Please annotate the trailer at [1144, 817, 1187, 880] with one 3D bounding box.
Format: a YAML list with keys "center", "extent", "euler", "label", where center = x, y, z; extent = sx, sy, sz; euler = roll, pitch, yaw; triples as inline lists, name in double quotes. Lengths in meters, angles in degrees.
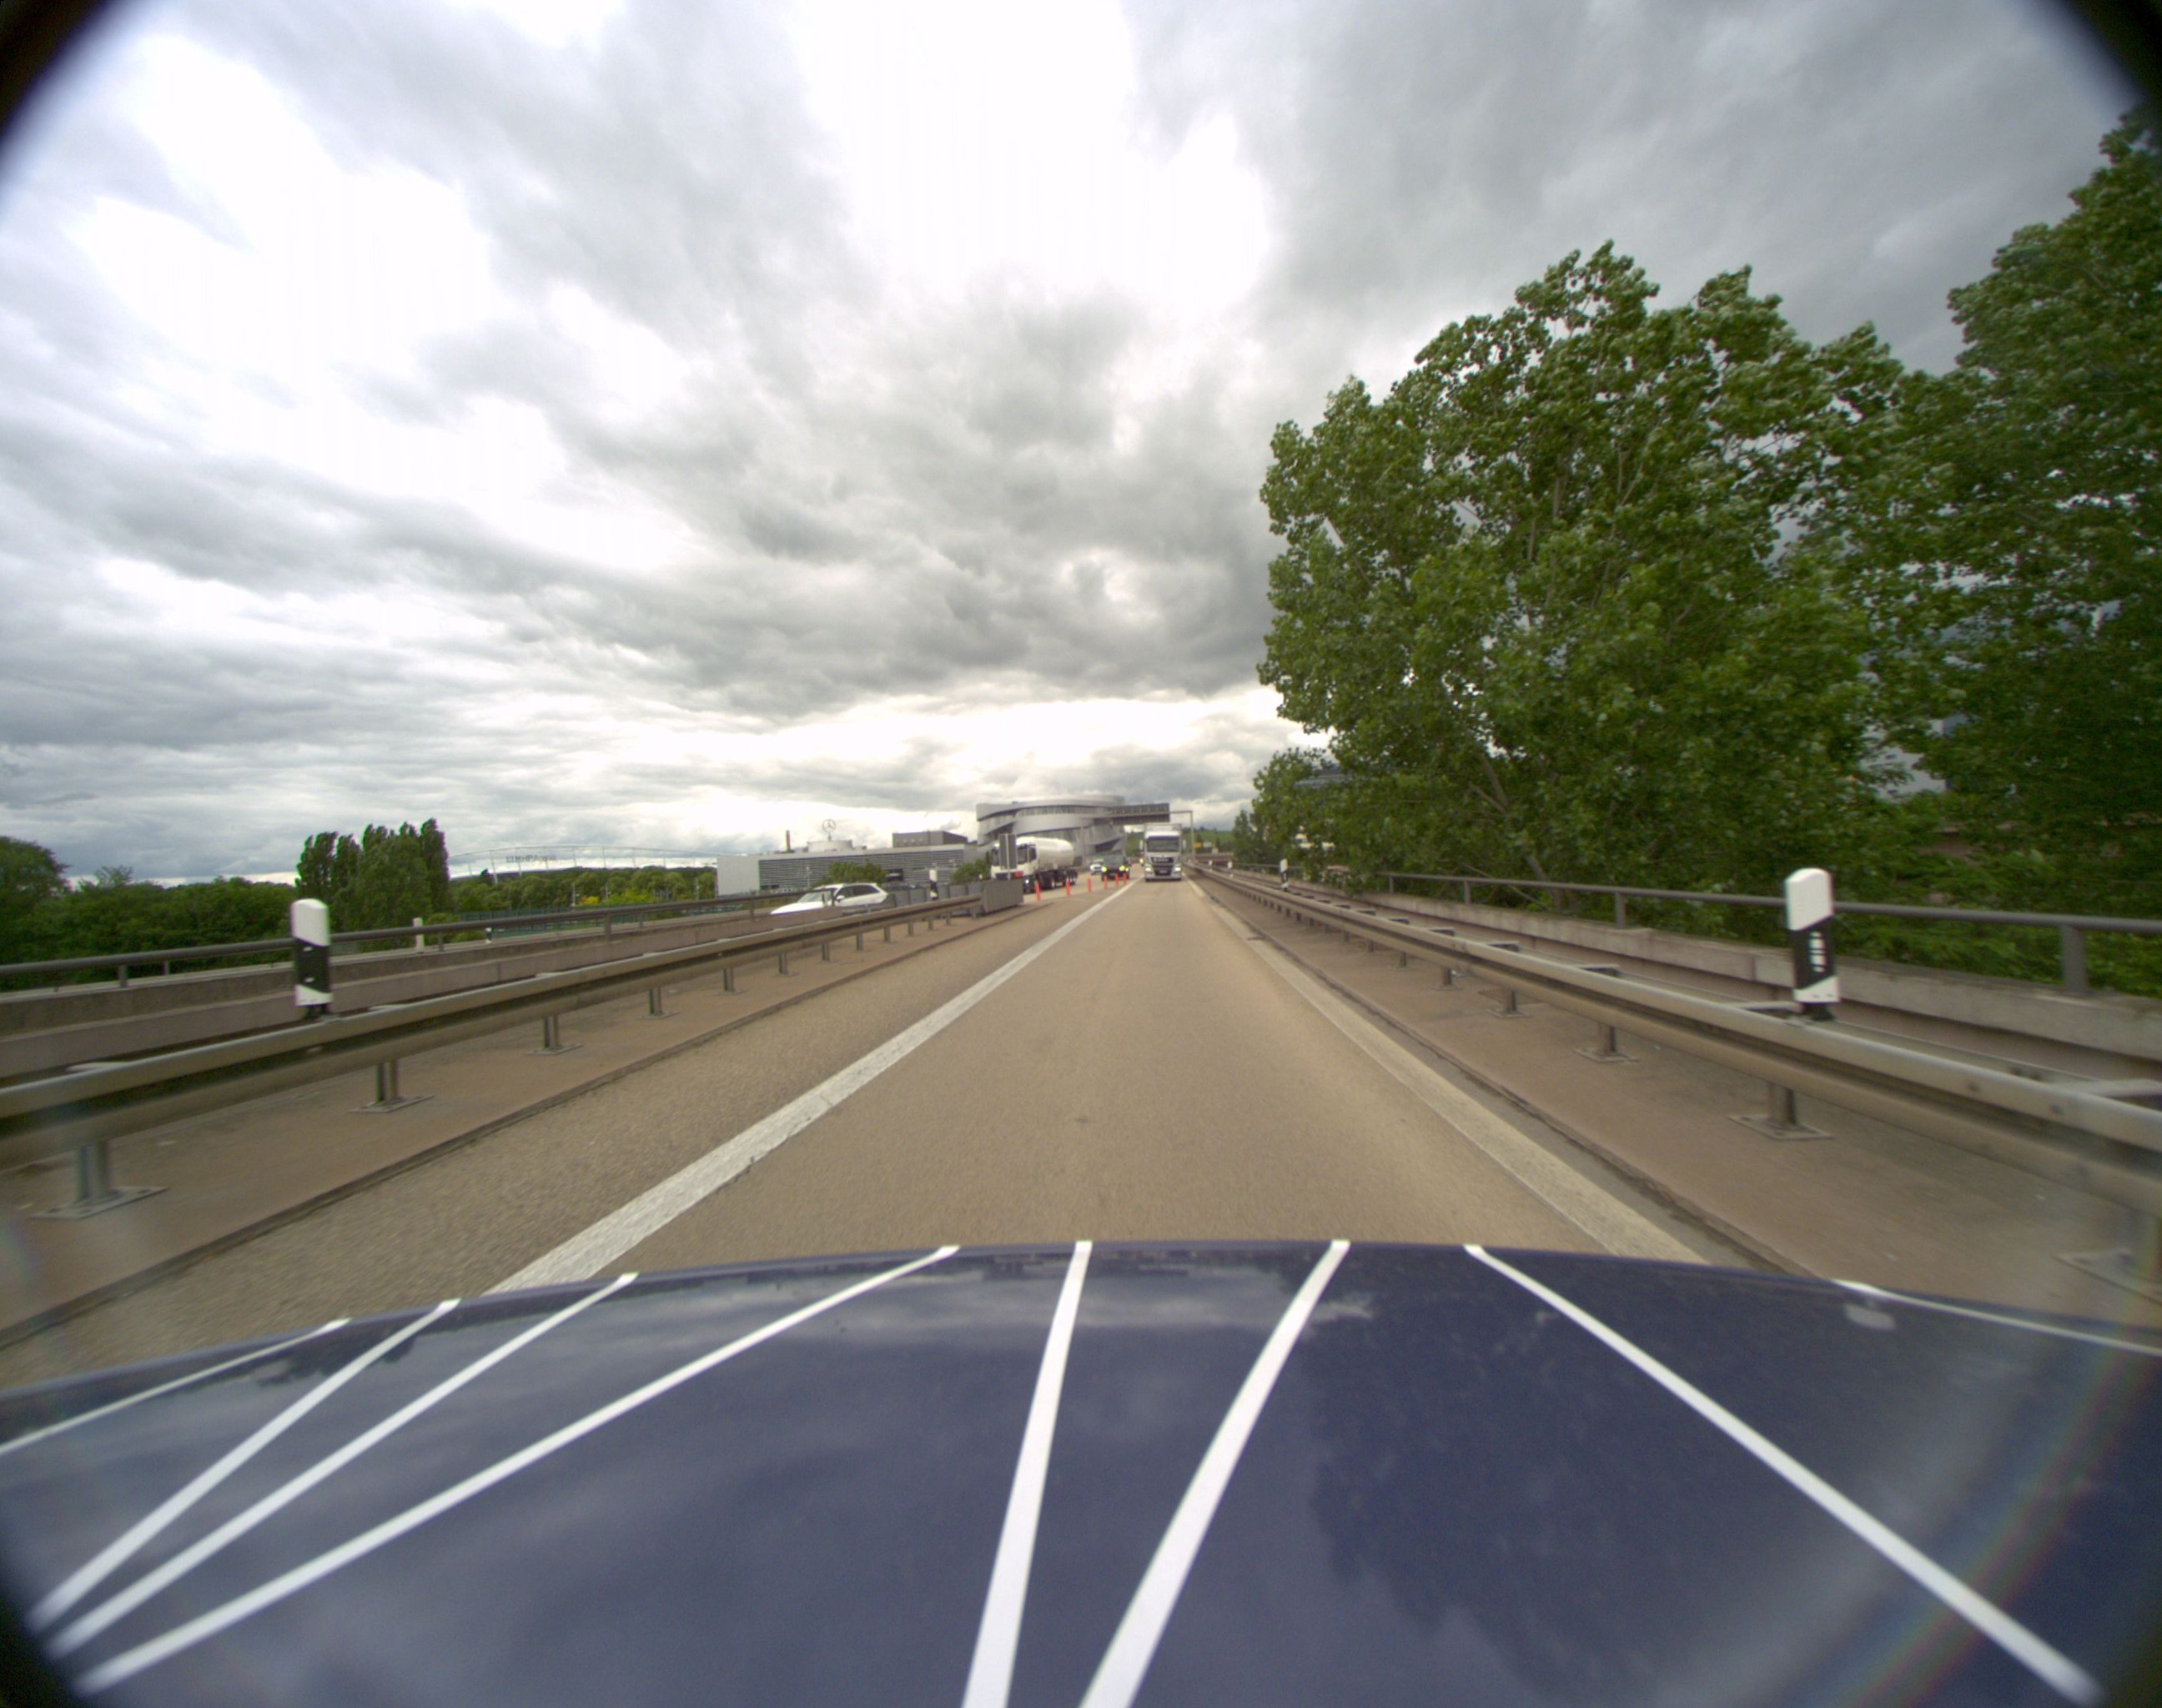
- center: [6.652, -0.431, 58.419]
  extent: [2.745, 4.213, 13.454]
  euler: [-2, 0, 8]
  label: "trailer"

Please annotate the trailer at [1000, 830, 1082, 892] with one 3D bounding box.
- center: [-2.379, 0.351, 50.548]
  extent: [2.745, 3.628, 11.013]
  euler: [-2, 0, 11]
  label: "trailer"

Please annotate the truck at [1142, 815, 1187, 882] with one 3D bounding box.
- center: [5.808, -0.398, 52.028]
  extent: [2.733, 4.204, 6.204]
  euler: [-2, 0, 8]
  label: "truck"

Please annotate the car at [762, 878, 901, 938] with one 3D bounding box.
- center: [-7.678, 1.624, 23.774]
  extent: [1.786, 1.400, 3.941]
  euler: [-6, -1, 25]
  label: "car"

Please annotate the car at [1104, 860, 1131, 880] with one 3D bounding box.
- center: [2.955, 1.252, 60.906]
  extent: [1.788, 1.401, 3.803]
  euler: [-2, 0, 7]
  label: "car"

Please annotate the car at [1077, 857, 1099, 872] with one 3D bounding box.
- center: [0.785, 1.083, 83.076]
  extent: [1.927, 1.506, 3.803]
  euler: [-2, 0, 7]
  label: "car"

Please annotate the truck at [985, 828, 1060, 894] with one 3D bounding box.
- center: [-3.366, 0.385, 45.526]
  extent: [2.732, 3.625, 6.206]
  euler: [-2, 0, 12]
  label: "truck"
